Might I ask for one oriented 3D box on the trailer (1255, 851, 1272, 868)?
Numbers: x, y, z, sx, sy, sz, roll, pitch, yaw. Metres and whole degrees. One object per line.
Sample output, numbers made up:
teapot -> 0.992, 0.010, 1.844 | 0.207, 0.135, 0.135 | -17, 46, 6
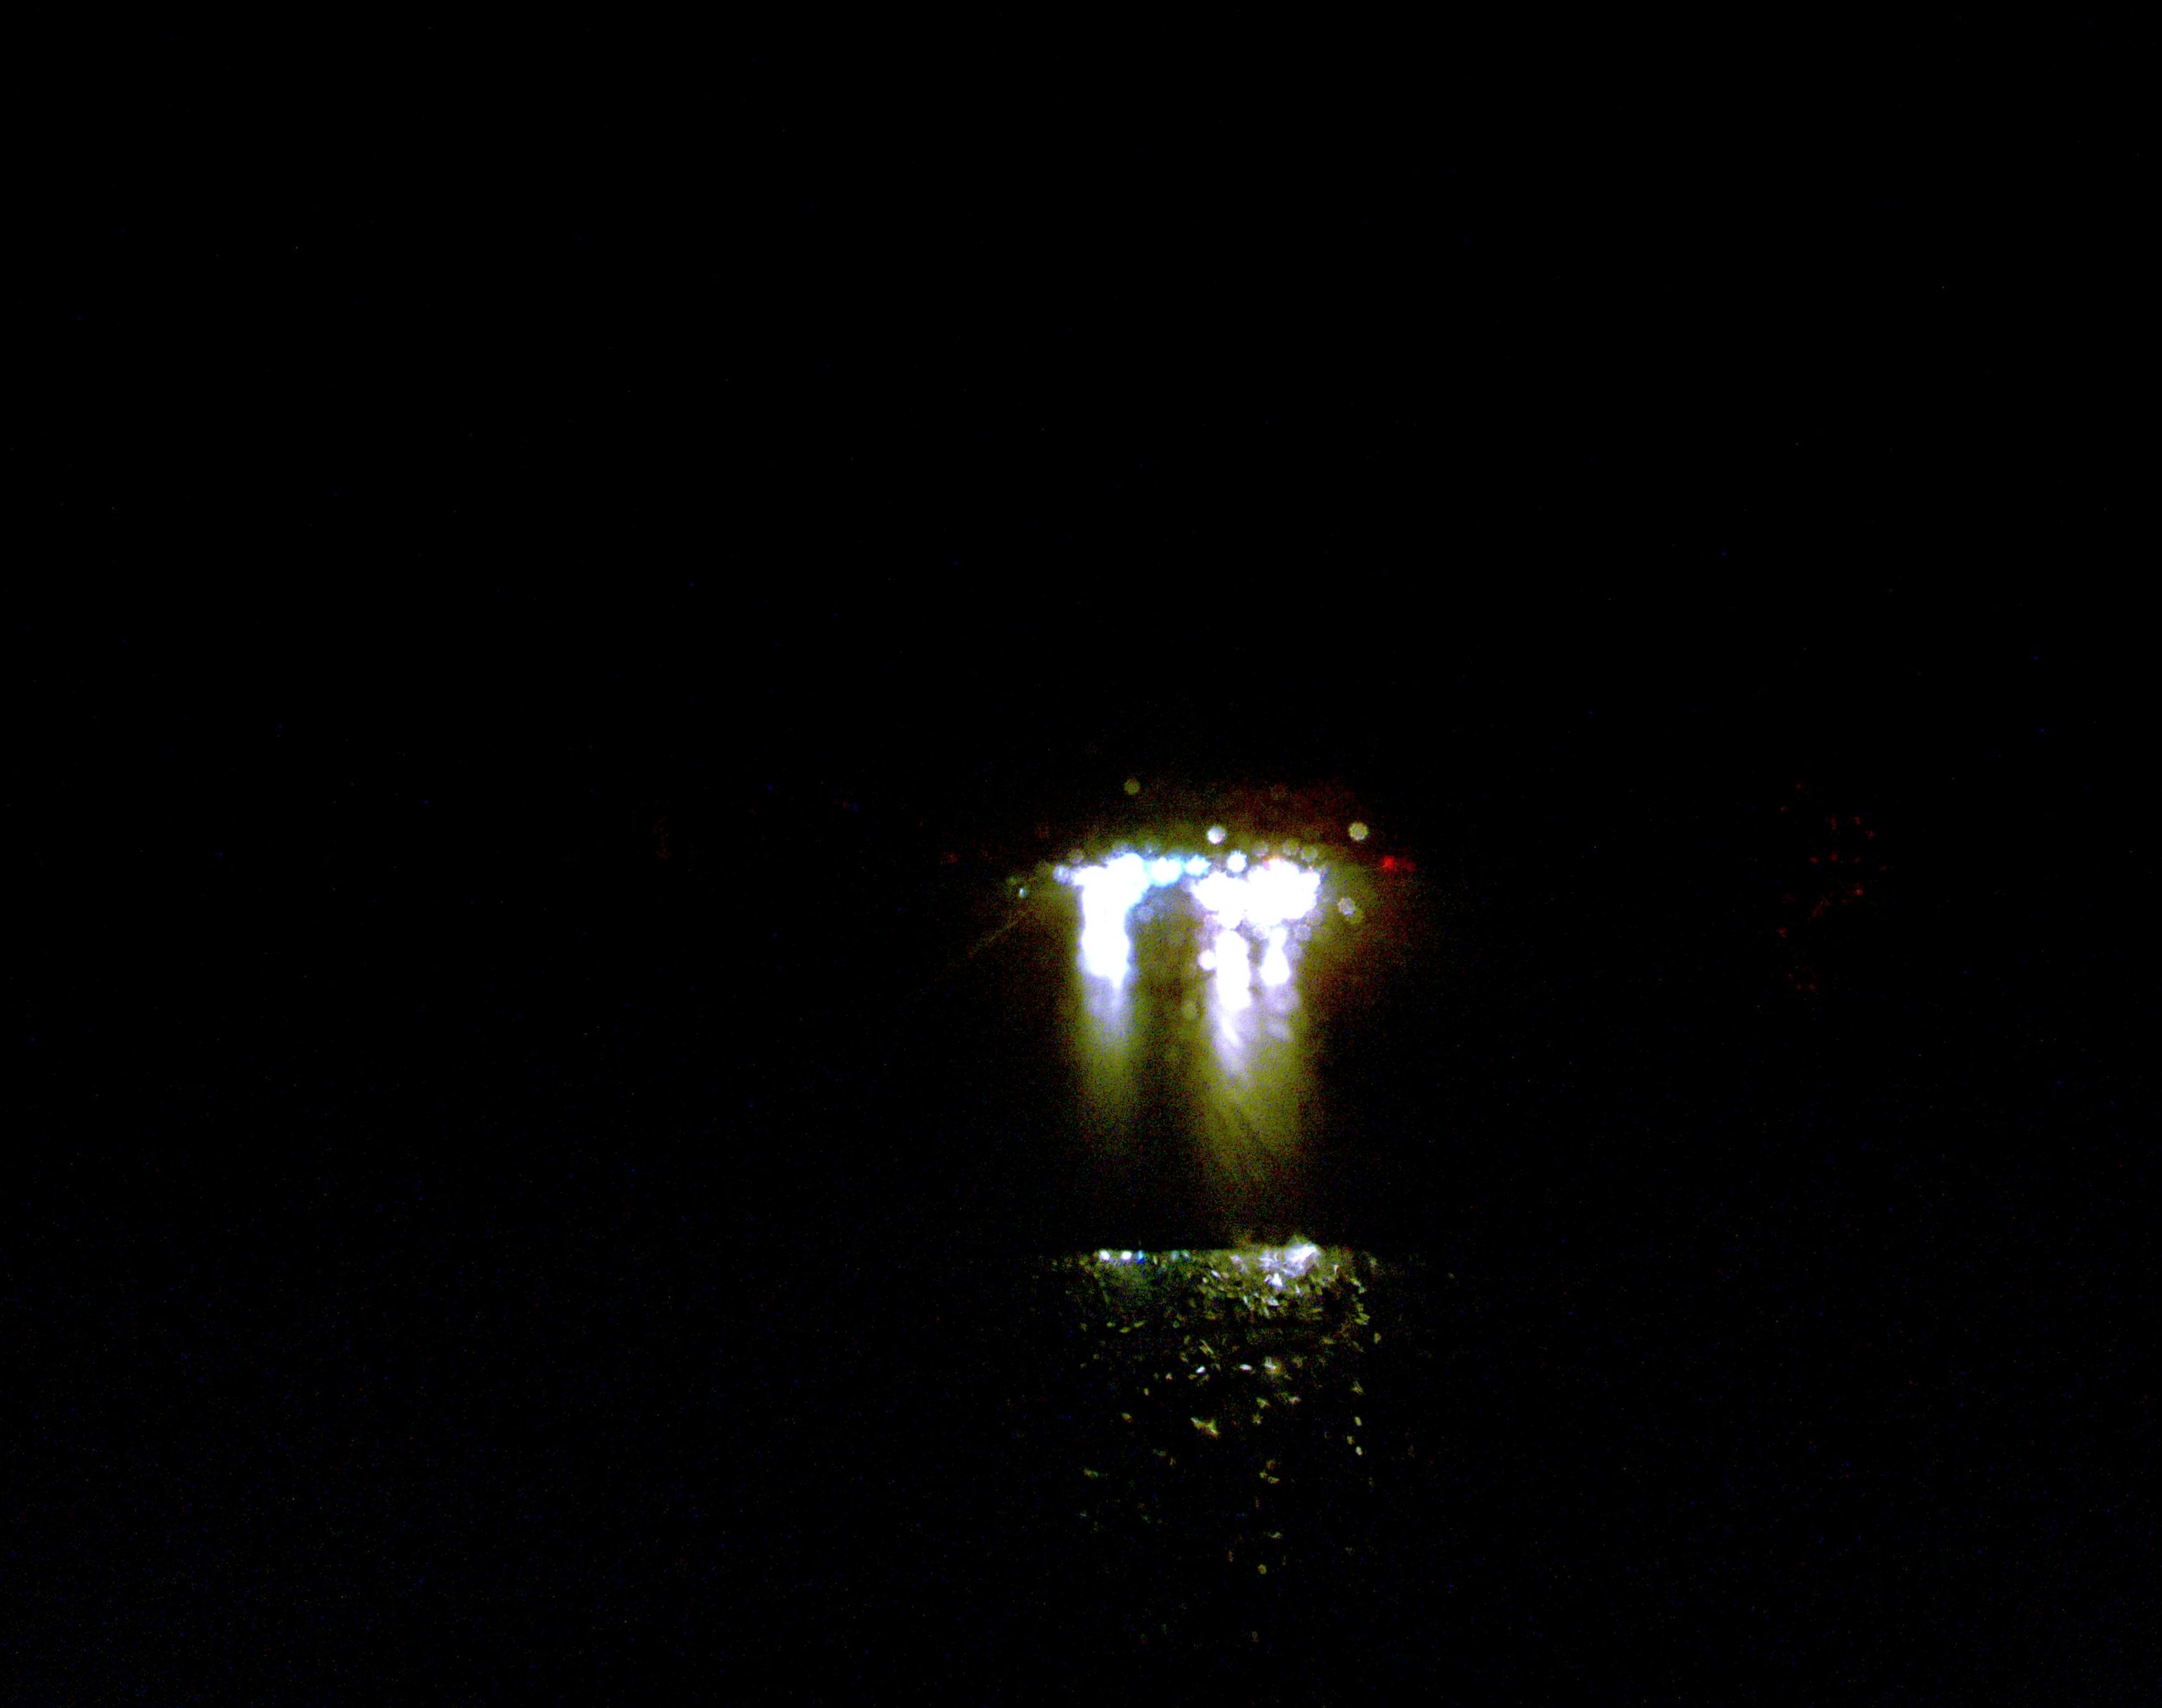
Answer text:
trailer -> 39.226, 1.042, 163.562 | 2.614, 3.452, 10.451 | 0, 1, 7

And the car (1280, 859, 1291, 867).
car -> 43.525, 1.872, 161.824 | 1.834, 1.703, 4.003 | 0, 1, 10

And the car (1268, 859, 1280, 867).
car -> 32.541, 1.506, 128.144 | 1.607, 1.335, 3.244 | -2, 1, 6

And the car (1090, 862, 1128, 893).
car -> 1.653, 1.327, 43.543 | 1.891, 1.602, 4.001 | 0, 1, 6

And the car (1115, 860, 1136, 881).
car -> 4.399, 1.614, 75.305 | 1.998, 2.001, 4.001 | -1, -1, 2

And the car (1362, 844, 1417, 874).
car -> 21.312, 0.321, 52.650 | 1.998, 2.002, 4.810 | -1, 1, 2

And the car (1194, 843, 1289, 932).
car -> 4.149, 0.796, 20.322 | 1.754, 2.092, 4.464 | 1, 0, 2
